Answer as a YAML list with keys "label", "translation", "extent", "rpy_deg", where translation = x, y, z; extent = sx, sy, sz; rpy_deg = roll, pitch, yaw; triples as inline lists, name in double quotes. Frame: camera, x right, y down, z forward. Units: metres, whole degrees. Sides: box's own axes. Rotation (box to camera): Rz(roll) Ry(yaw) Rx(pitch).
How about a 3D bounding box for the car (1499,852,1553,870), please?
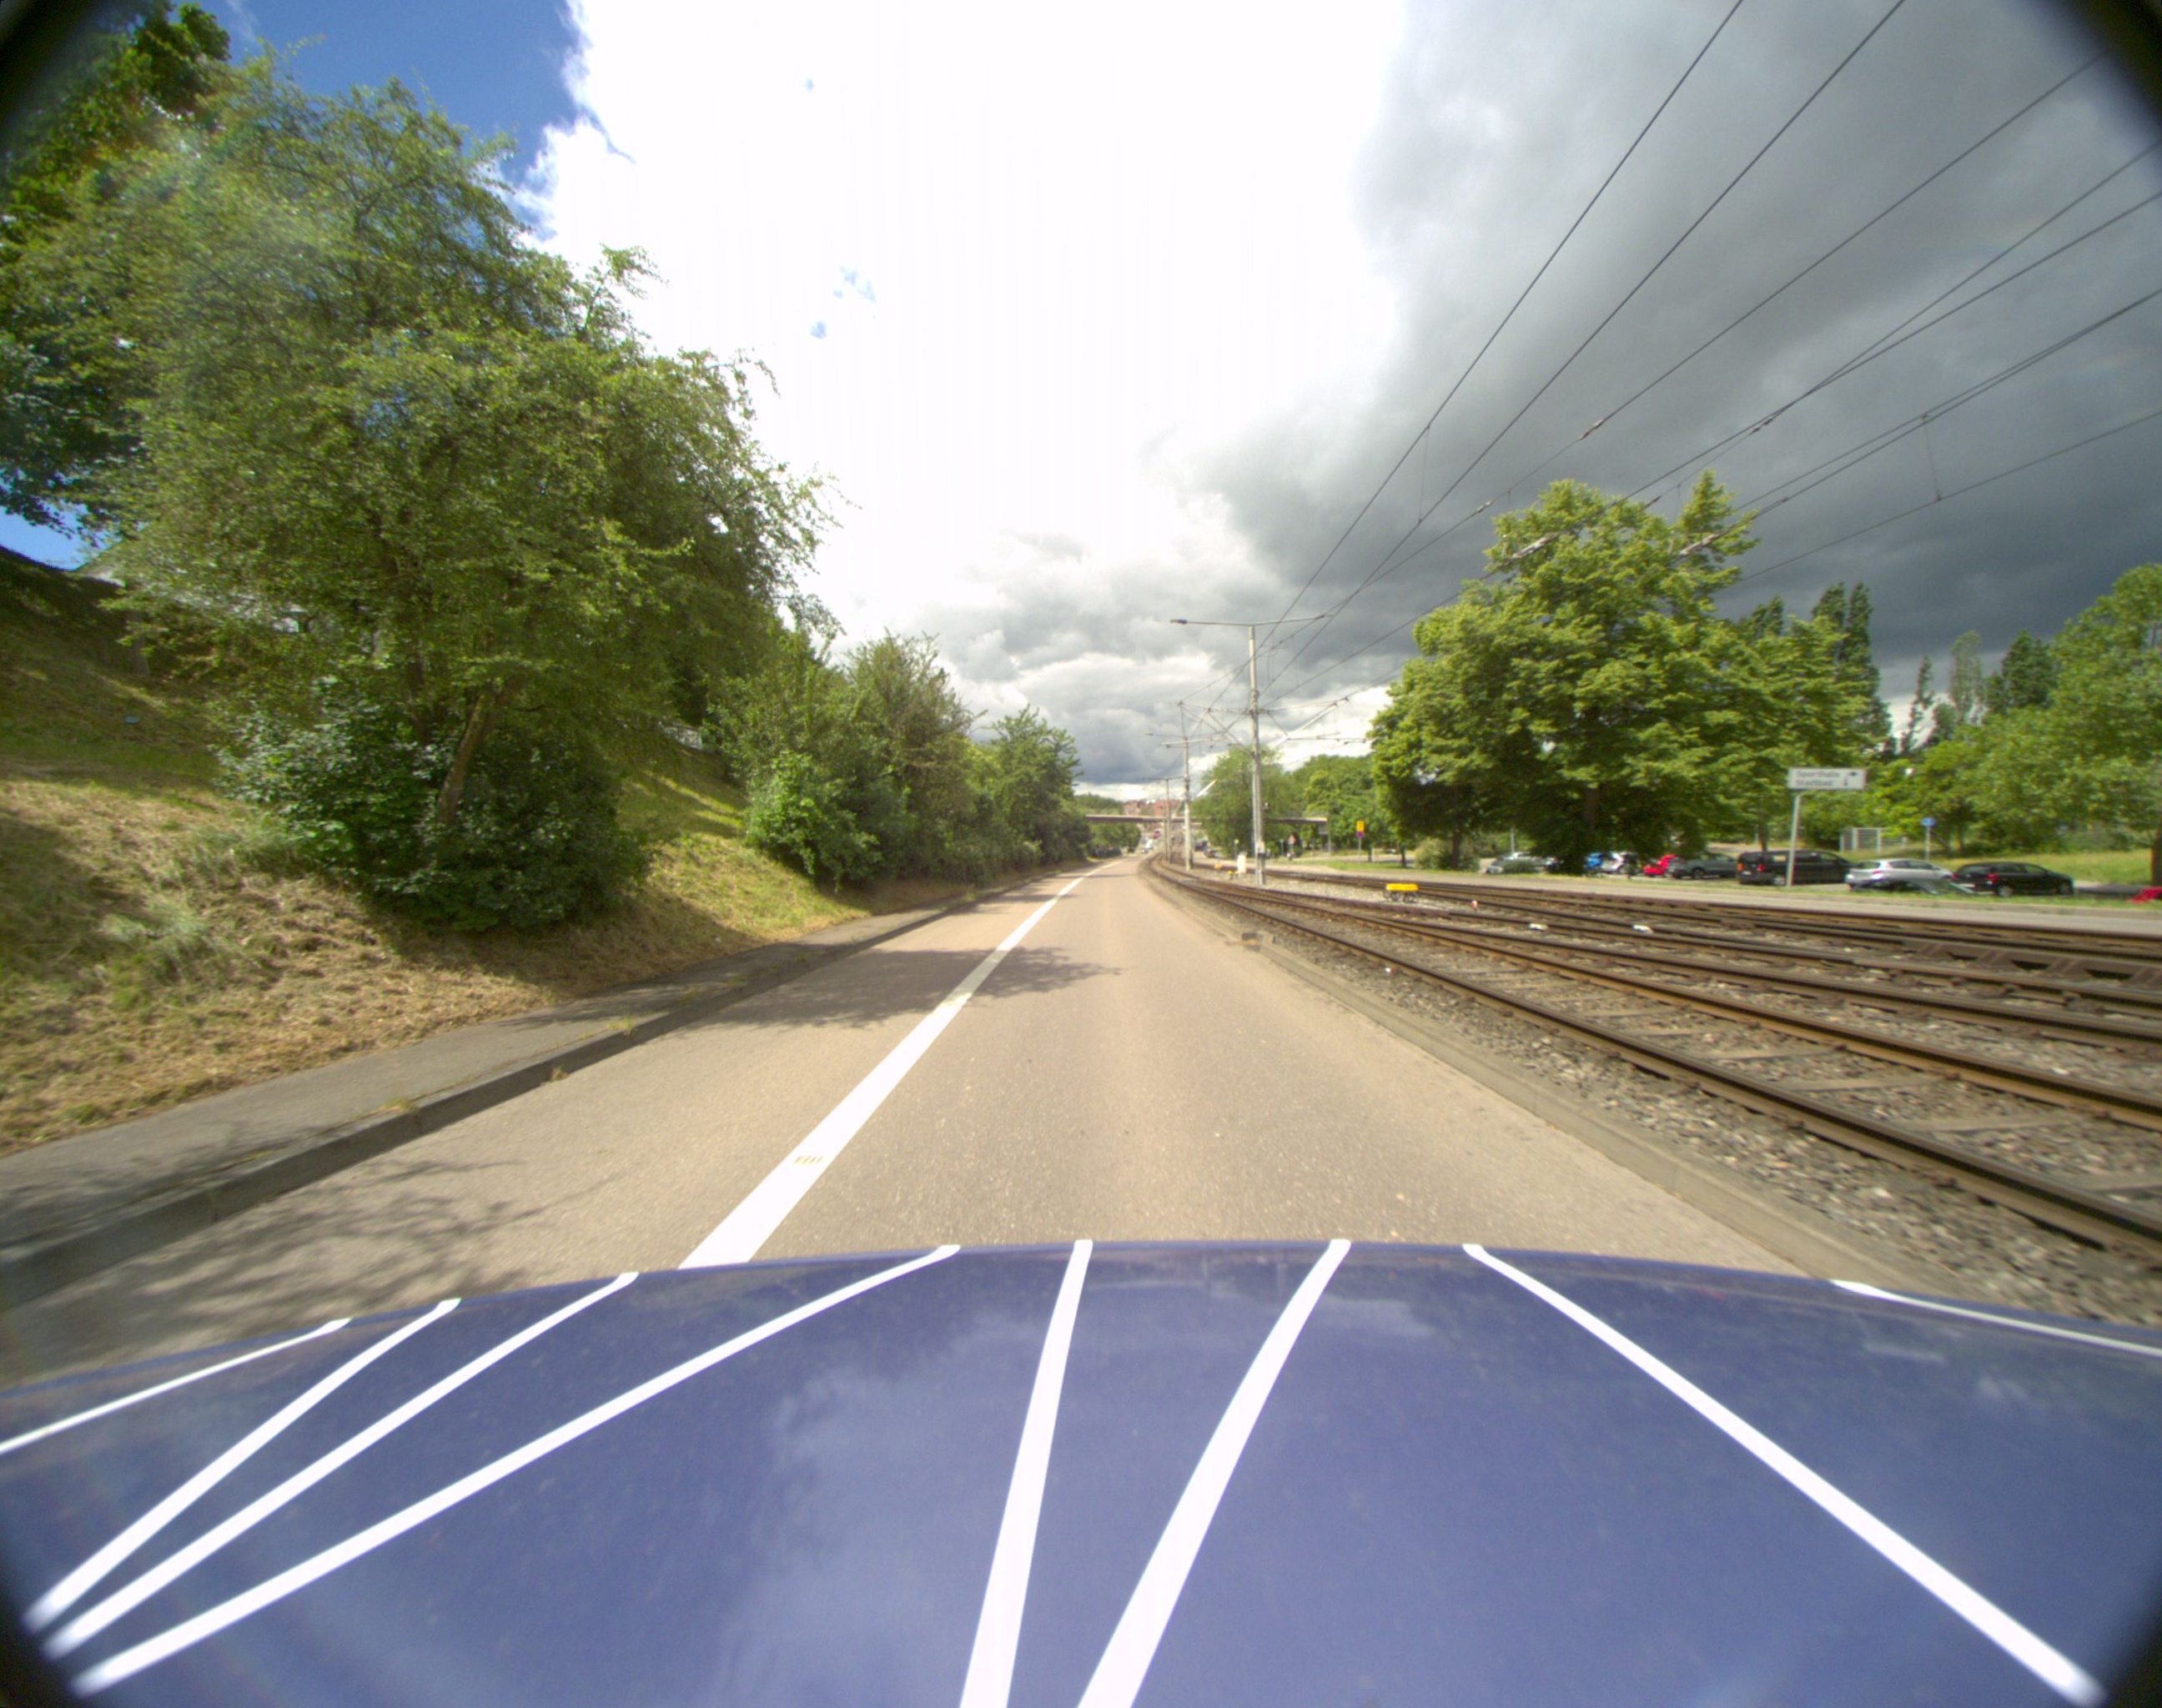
- label: "car"
  translation: [40.470, 0.627, 69.197]
  extent: [3.876, 1.383, 1.574]
  rpy_deg: [-3, 2, 11]

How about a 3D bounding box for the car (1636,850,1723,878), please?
- label: "car"
  translation: [39.589, 0.660, 50.350]
  extent: [3.961, 1.570, 1.997]
  rpy_deg: [-3, 0, 9]

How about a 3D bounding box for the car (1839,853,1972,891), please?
- label: "car"
  translation: [39.601, 0.854, 36.598]
  extent: [3.994, 1.589, 1.860]
  rpy_deg: [-3, 1, 12]

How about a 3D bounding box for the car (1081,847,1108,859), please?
- label: "car"
  translation: [2.483, -0.125, 141.117]
  extent: [4.532, 1.663, 2.000]
  rpy_deg: [7, 4, 8]

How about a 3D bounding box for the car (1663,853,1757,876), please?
- label: "car"
  translation: [39.714, 0.654, 48.091]
  extent: [4.089, 1.245, 1.997]
  rpy_deg: [-3, -1, 9]

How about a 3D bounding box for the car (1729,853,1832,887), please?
- label: "car"
  translation: [38.247, 0.854, 41.640]
  extent: [3.602, 1.628, 1.952]
  rpy_deg: [-3, 1, 12]

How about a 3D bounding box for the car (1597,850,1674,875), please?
- label: "car"
  translation: [40.004, 0.620, 54.926]
  extent: [3.961, 1.570, 1.995]
  rpy_deg: [-3, 0, 9]

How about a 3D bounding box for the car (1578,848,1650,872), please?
- label: "car"
  translation: [40.412, 0.448, 57.709]
  extent: [3.961, 1.570, 1.870]
  rpy_deg: [-3, 0, 9]

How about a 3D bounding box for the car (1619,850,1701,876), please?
- label: "car"
  translation: [39.884, 0.610, 52.394]
  extent: [3.961, 1.570, 1.997]
  rpy_deg: [-3, 0, 9]

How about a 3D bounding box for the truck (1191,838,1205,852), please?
- label: "truck"
  translation: [30.028, -2.296, 194.877]
  extent: [2.877, 3.301, 9.031]
  rpy_deg: [-4, 2, 6]

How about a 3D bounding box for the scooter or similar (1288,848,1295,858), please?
- label: "scooter or similar"
  translation: [27.394, -0.146, 98.969]
  extent: [0.712, 1.141, 0.788]
  rpy_deg: [-3, 2, 10]

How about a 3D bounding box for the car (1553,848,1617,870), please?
- label: "car"
  translation: [41.070, 0.419, 62.045]
  extent: [3.922, 1.570, 1.844]
  rpy_deg: [-3, 0, 15]

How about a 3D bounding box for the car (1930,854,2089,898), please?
- label: "car"
  translation: [39.205, 0.929, 32.196]
  extent: [3.994, 1.589, 1.860]
  rpy_deg: [-3, 1, 10]

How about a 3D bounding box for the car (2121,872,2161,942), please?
- label: "car"
  translation: [28.695, 1.368, 18.304]
  extent: [1.820, 1.761, 4.000]
  rpy_deg: [-1, 0, 1]

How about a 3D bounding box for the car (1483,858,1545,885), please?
- label: "car"
  translation: [30.190, 1.200, 53.139]
  extent: [1.994, 1.744, 4.070]
  rpy_deg: [-3, -1, 2]

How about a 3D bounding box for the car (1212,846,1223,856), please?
- label: "car"
  translation: [23.653, -0.590, 131.973]
  extent: [1.692, 1.442, 3.899]
  rpy_deg: [-3, 2, 9]
